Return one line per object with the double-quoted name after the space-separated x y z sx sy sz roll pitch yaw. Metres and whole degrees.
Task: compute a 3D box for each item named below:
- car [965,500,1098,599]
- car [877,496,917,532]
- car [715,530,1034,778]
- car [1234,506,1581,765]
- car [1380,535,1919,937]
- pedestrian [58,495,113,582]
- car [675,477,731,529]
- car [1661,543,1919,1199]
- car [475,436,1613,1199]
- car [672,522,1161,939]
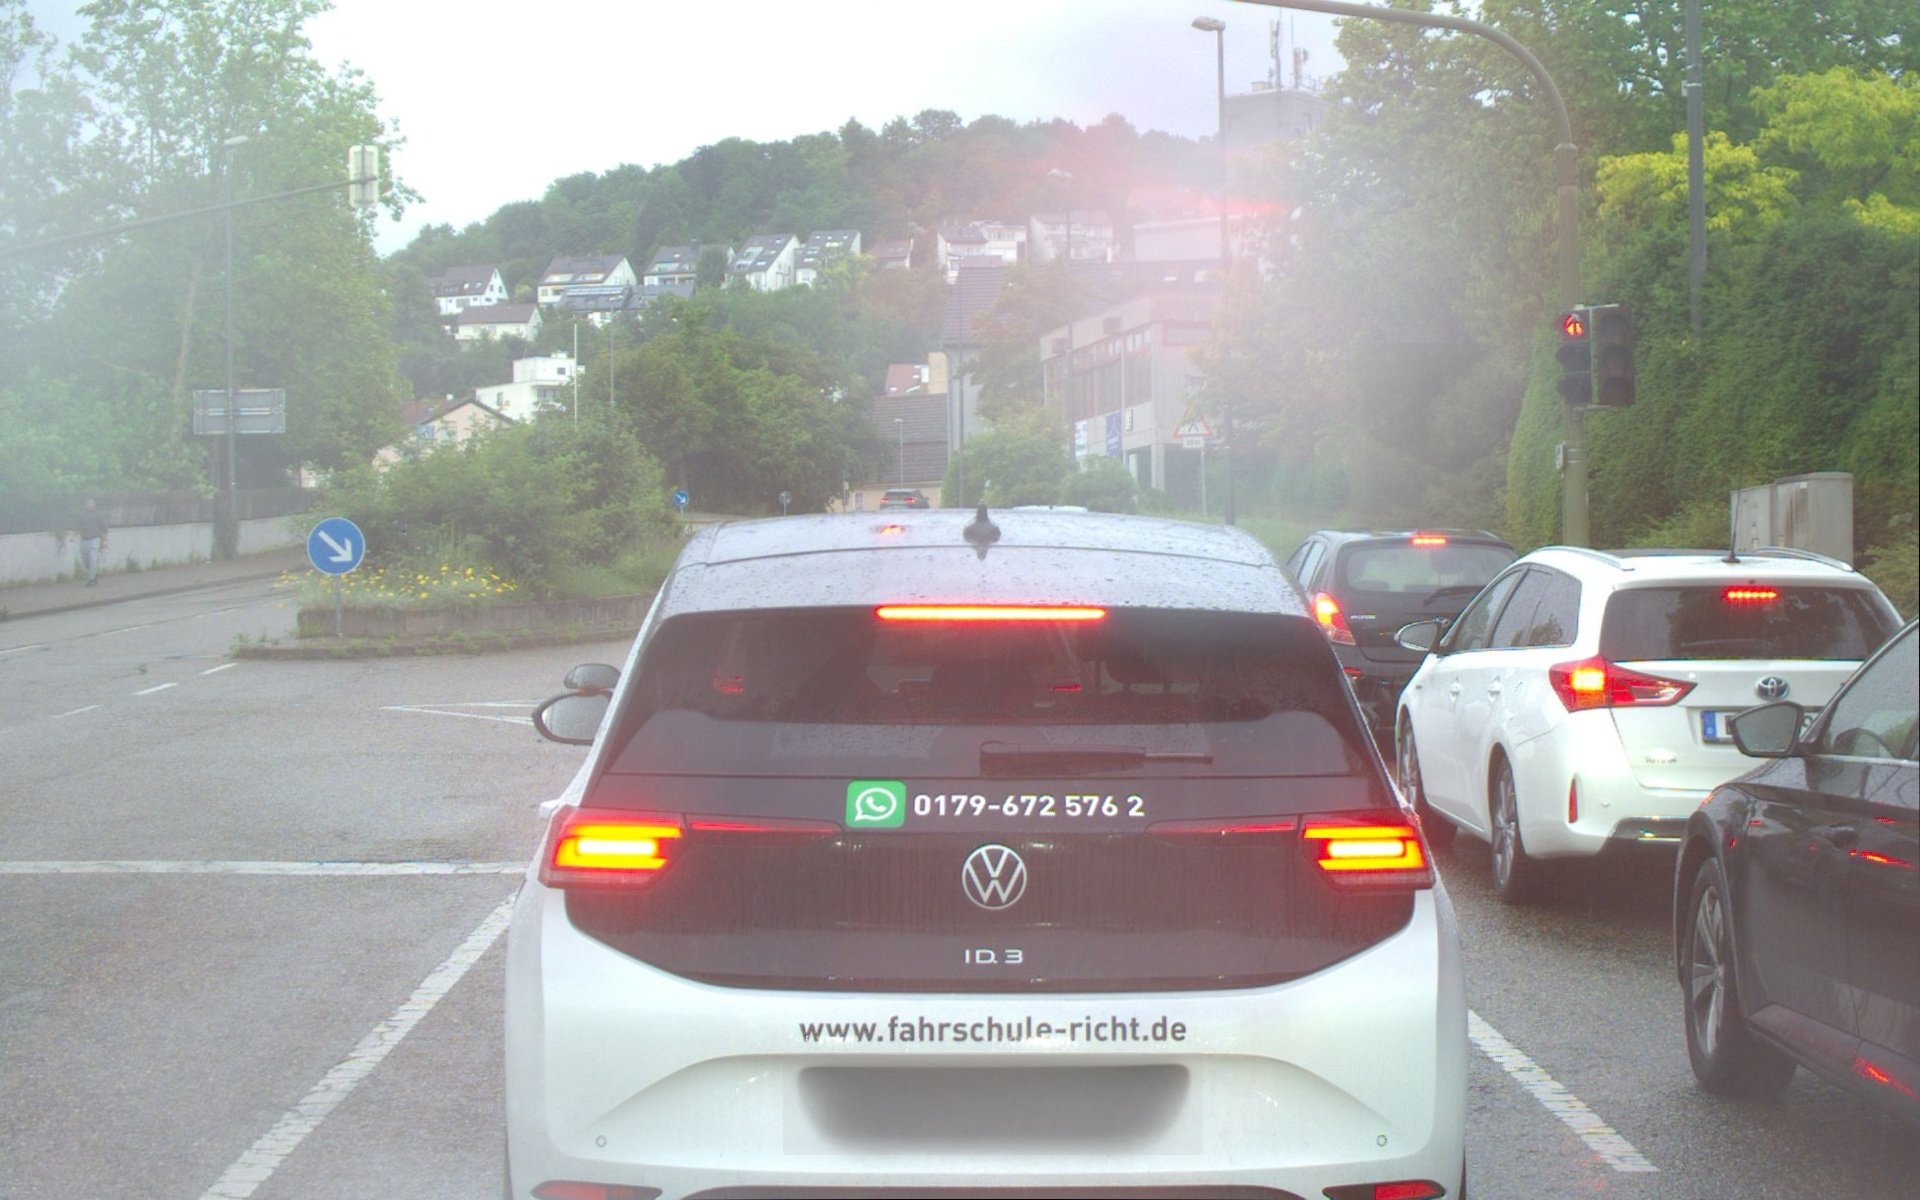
1.059 -0.796 52.570 1.761 1.413 3.749 -1 2 -3 "car"
-2.915 -3.988 159.430 1.775 1.576 4.000 -2 1 0 "car"
-0.541 0.277 22.051 1.837 1.395 3.831 1 1 -1 "car"
2.934 0.193 23.337 1.775 1.576 4.000 1 1 0 "car"
3.056 0.478 14.974 1.837 1.461 4.117 1 1 -1 "car"
-16.138 -1.126 63.451 0.760 1.562 0.825 -2 1 -1 "pedestrian"
-10.475 -3.933 140.189 1.993 2.007 4.000 1 0 0 "car"
2.875 0.642 7.473 1.838 1.461 4.350 1 1 1 "car"
0.086 0.508 7.944 1.837 1.623 4.616 1 1 -1 "car"
-0.211 0.453 15.231 1.837 1.549 4.175 1 1 -1 "car"
